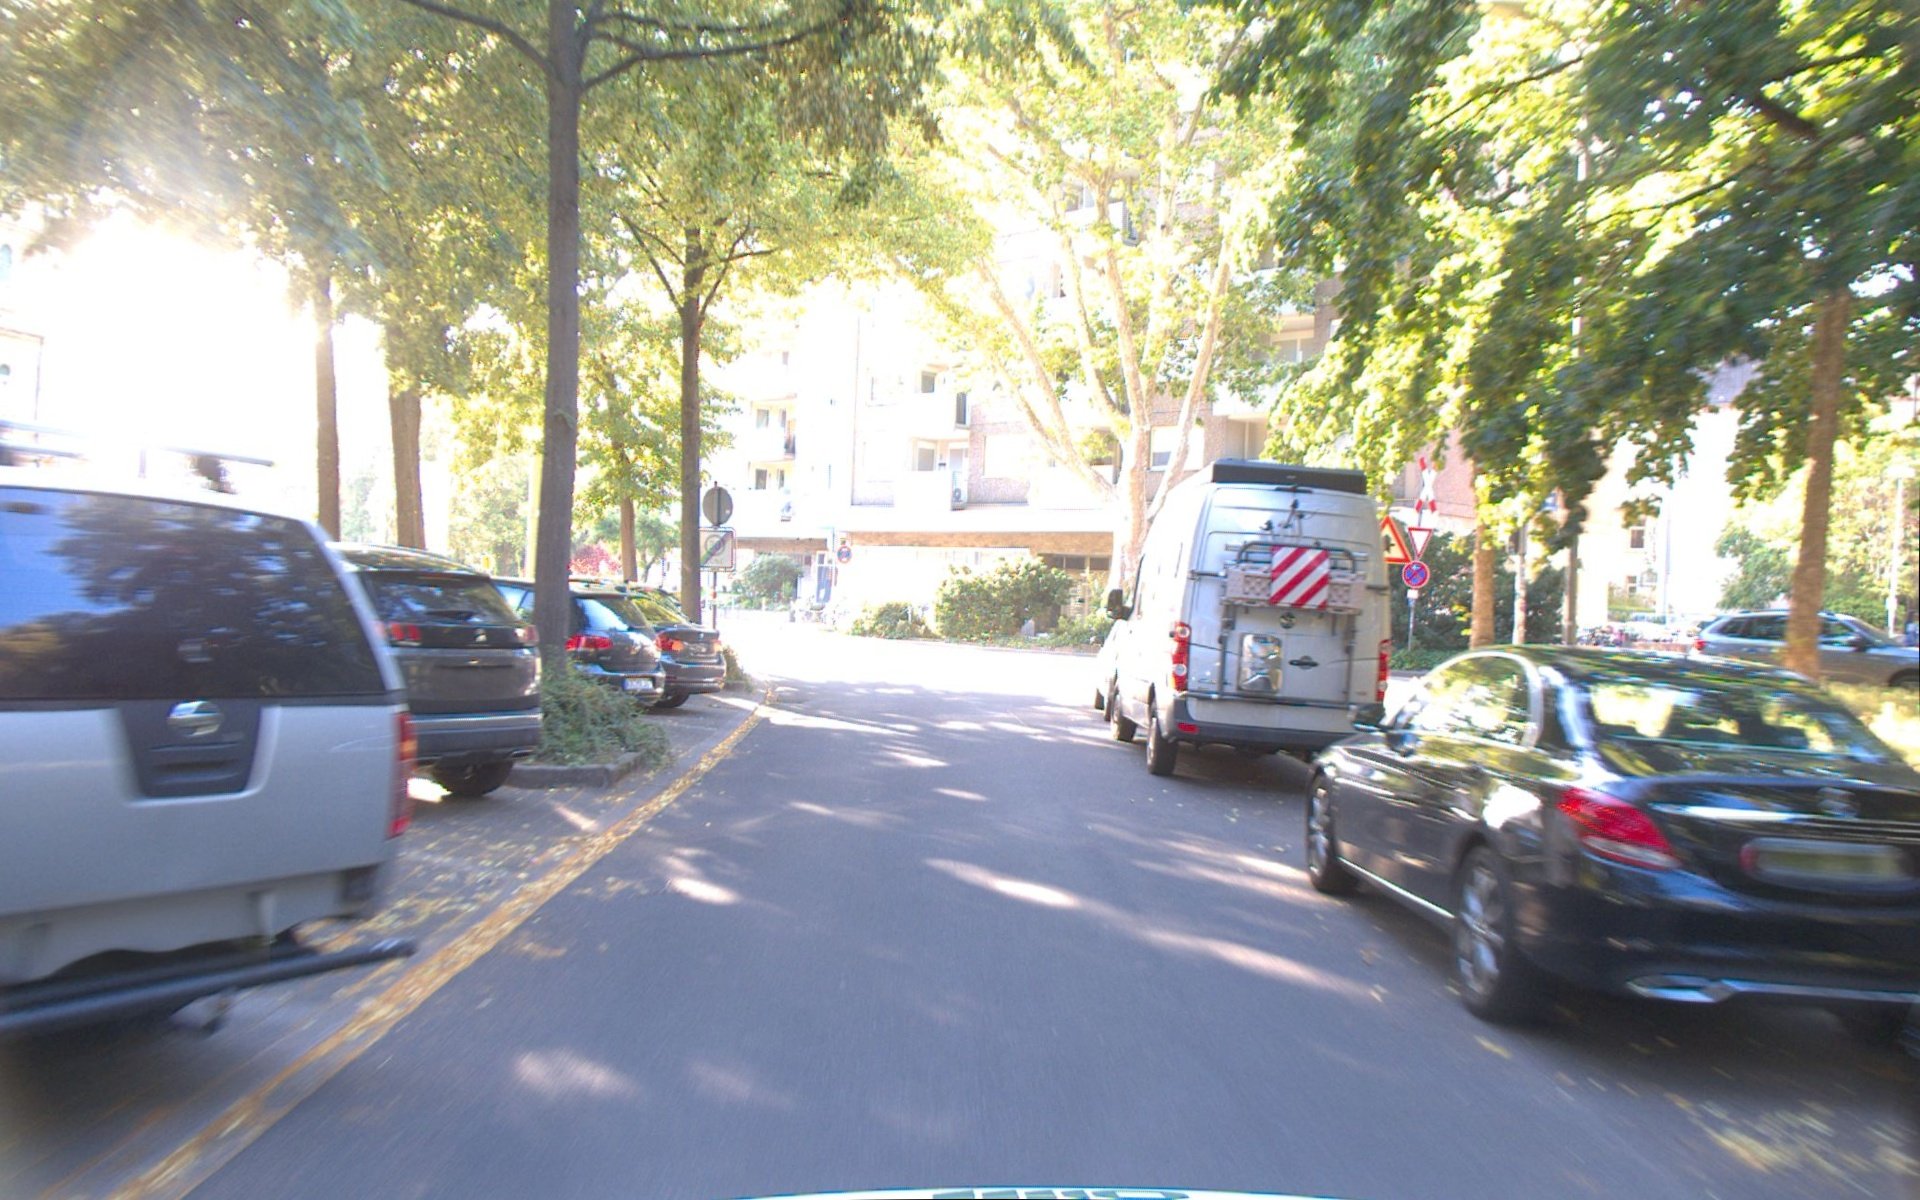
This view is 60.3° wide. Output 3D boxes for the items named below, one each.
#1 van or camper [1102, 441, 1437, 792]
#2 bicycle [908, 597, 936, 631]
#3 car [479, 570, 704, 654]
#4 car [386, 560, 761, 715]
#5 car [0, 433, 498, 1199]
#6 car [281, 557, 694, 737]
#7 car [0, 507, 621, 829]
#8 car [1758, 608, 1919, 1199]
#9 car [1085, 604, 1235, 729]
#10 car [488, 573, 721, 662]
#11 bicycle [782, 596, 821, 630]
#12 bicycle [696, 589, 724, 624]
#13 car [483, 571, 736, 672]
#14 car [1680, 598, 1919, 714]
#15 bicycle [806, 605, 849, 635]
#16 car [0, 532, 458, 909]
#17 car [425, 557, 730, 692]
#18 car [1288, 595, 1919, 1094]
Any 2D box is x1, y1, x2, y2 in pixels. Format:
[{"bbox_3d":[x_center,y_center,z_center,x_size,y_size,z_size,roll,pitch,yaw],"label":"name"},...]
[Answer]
[{"bbox_3d":[2.798,0.120,16.511,2.042,2.810,5.844,2,0,-1],"label":"van or camper"},{"bbox_3d":[-1.214,0.445,52.734,0.345,1.056,1.039,1,0,-37],"label":"bicycle"},{"bbox_3d":[-7.680,0.250,34.577,4.190,1.454,1.776,3,0,15],"label":"car"},{"bbox_3d":[-4.732,0.433,20.272,4.104,1.463,1.831,5,0,23],"label":"car"},{"bbox_3d":[-4.154,0.354,5.422,4.890,1.812,1.986,5,0,26],"label":"car"},{"bbox_3d":[-4.961,0.459,17.414,3.783,1.463,1.831,5,0,23],"label":"car"},{"bbox_3d":[-4.699,0.359,11.353,4.260,1.654,1.939,5,0,26],"label":"car"},{"bbox_3d":[3.010,0.843,2.264,1.646,1.552,4.286,2,0,-1],"label":"car"},{"bbox_3d":[2.733,0.863,23.362,1.646,1.471,3.872,4,0,1],"label":"car"},{"bbox_3d":[-6.824,0.329,31.890,3.942,1.430,1.776,3,0,12],"label":"car"},{"bbox_3d":[-5.285,0.426,55.033,0.630,1.040,2.072,2,0,-25],"label":"bicycle"},{"bbox_3d":[-9.244,0.233,61.081,0.629,1.247,2.076,2,0,-20],"label":"bicycle"},{"bbox_3d":[-6.132,0.369,29.087,3.889,1.388,1.776,5,0,14],"label":"car"},{"bbox_3d":[13.557,0.875,25.417,4.204,1.579,1.730,2,-3,44],"label":"car"},{"bbox_3d":[-4.274,0.632,53.352,0.538,0.920,1.714,2,0,-36],"label":"bicycle"},{"bbox_3d":[-4.841,0.420,8.611,4.067,1.484,1.769,5,0,26],"label":"car"},{"bbox_3d":[-5.410,0.337,23.439,3.796,1.519,1.831,5,0,25],"label":"car"},{"bbox_3d":[2.840,0.794,7.574,1.646,1.552,4.488,2,0,-1],"label":"car"}]
